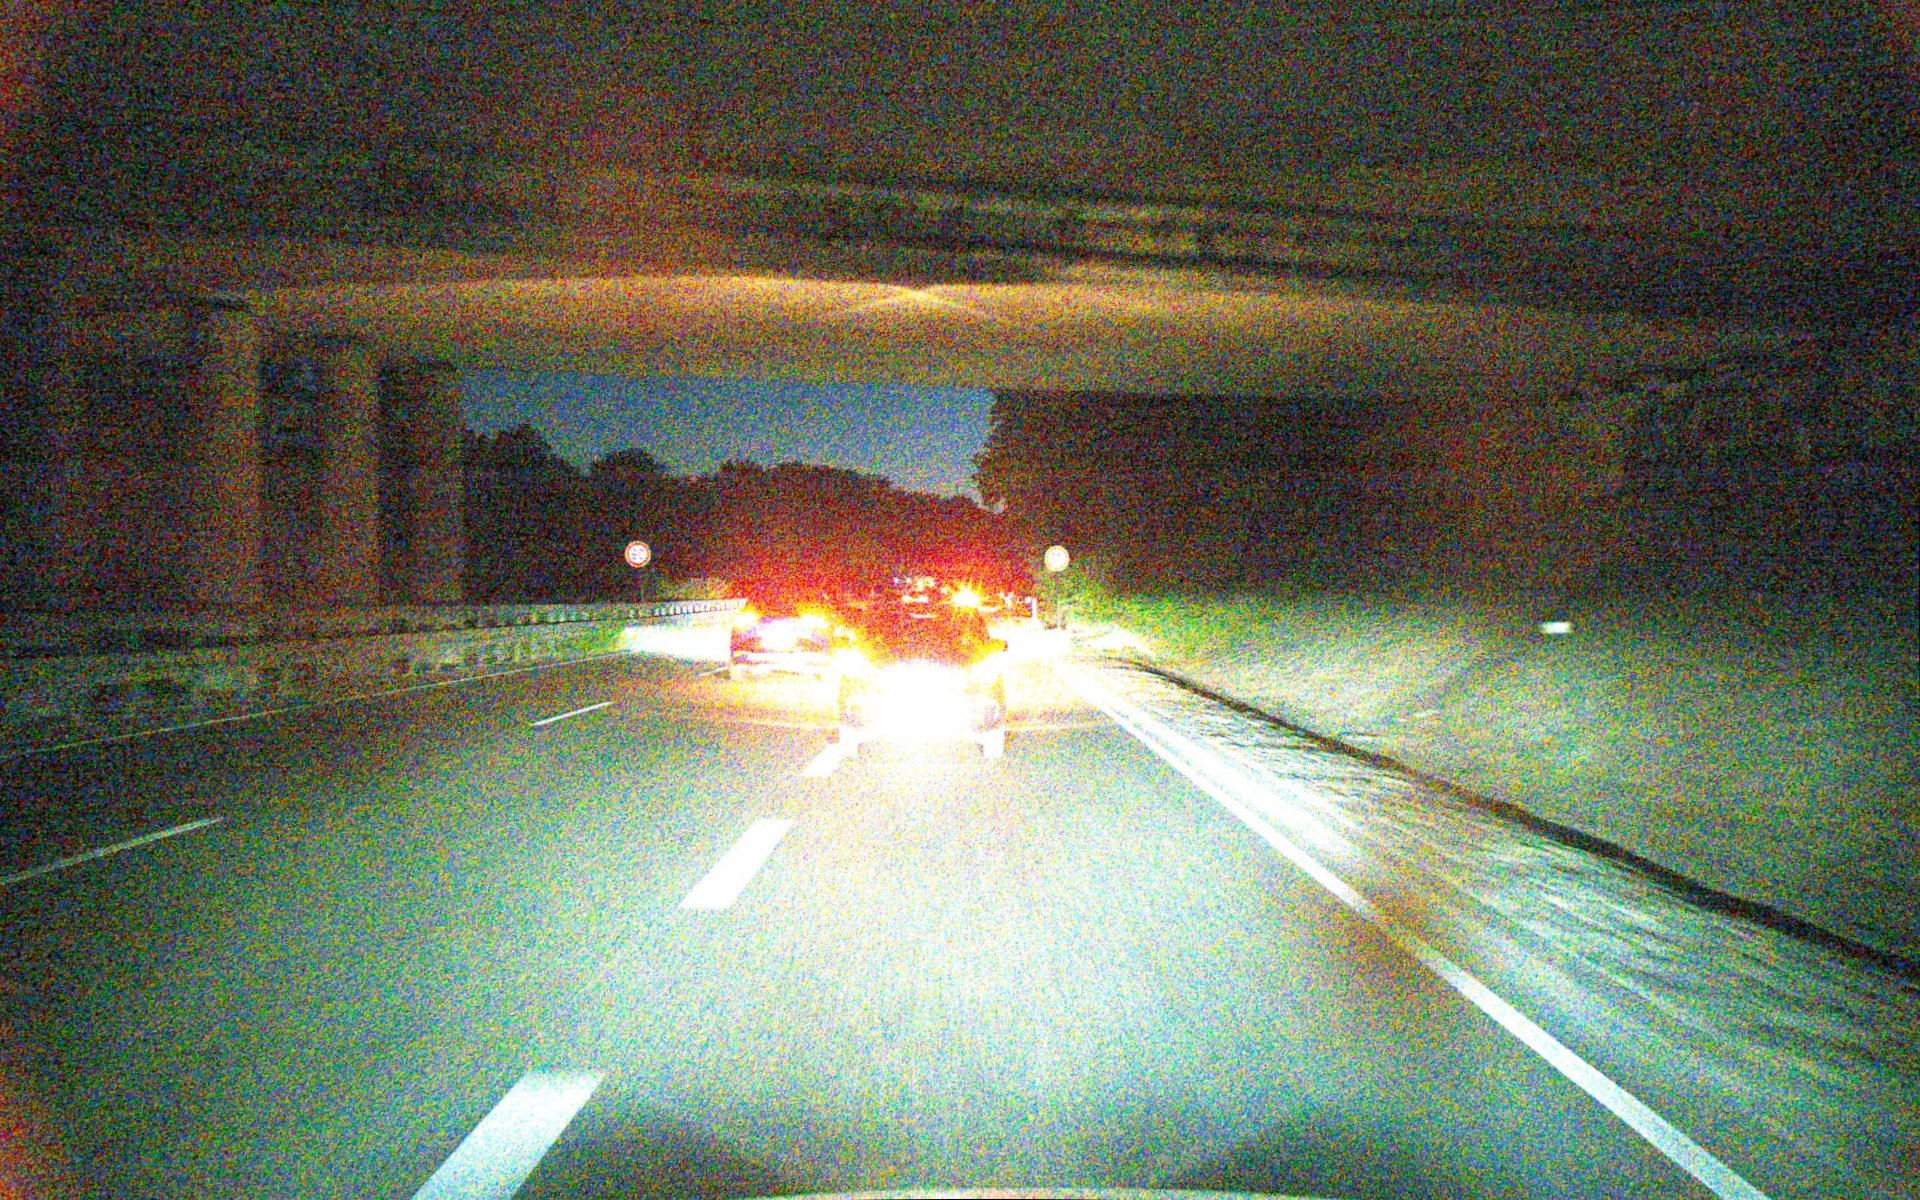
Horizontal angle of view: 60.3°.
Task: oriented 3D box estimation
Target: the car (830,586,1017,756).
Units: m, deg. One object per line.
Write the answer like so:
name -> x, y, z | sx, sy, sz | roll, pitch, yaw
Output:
car -> -0.462, 0.647, 16.986 | 1.658, 1.503, 3.997 | 2, 0, -4

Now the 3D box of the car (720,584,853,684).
car -> -3.072, 0.548, 30.161 | 1.900, 1.636, 4.643 | 1, 0, 0

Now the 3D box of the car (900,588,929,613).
car -> -3.259, 0.073, 119.651 | 1.912, 1.565, 4.240 | -4, -1, 0

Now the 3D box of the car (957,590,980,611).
car -> 0.641, 0.028, 131.194 | 1.698, 1.646, 3.797 | 1, 0, -1

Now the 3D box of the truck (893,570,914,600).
truck -> -8.243, -2.225, 243.243 | 2.620, 4.250, 5.870 | 1, 0, 2
